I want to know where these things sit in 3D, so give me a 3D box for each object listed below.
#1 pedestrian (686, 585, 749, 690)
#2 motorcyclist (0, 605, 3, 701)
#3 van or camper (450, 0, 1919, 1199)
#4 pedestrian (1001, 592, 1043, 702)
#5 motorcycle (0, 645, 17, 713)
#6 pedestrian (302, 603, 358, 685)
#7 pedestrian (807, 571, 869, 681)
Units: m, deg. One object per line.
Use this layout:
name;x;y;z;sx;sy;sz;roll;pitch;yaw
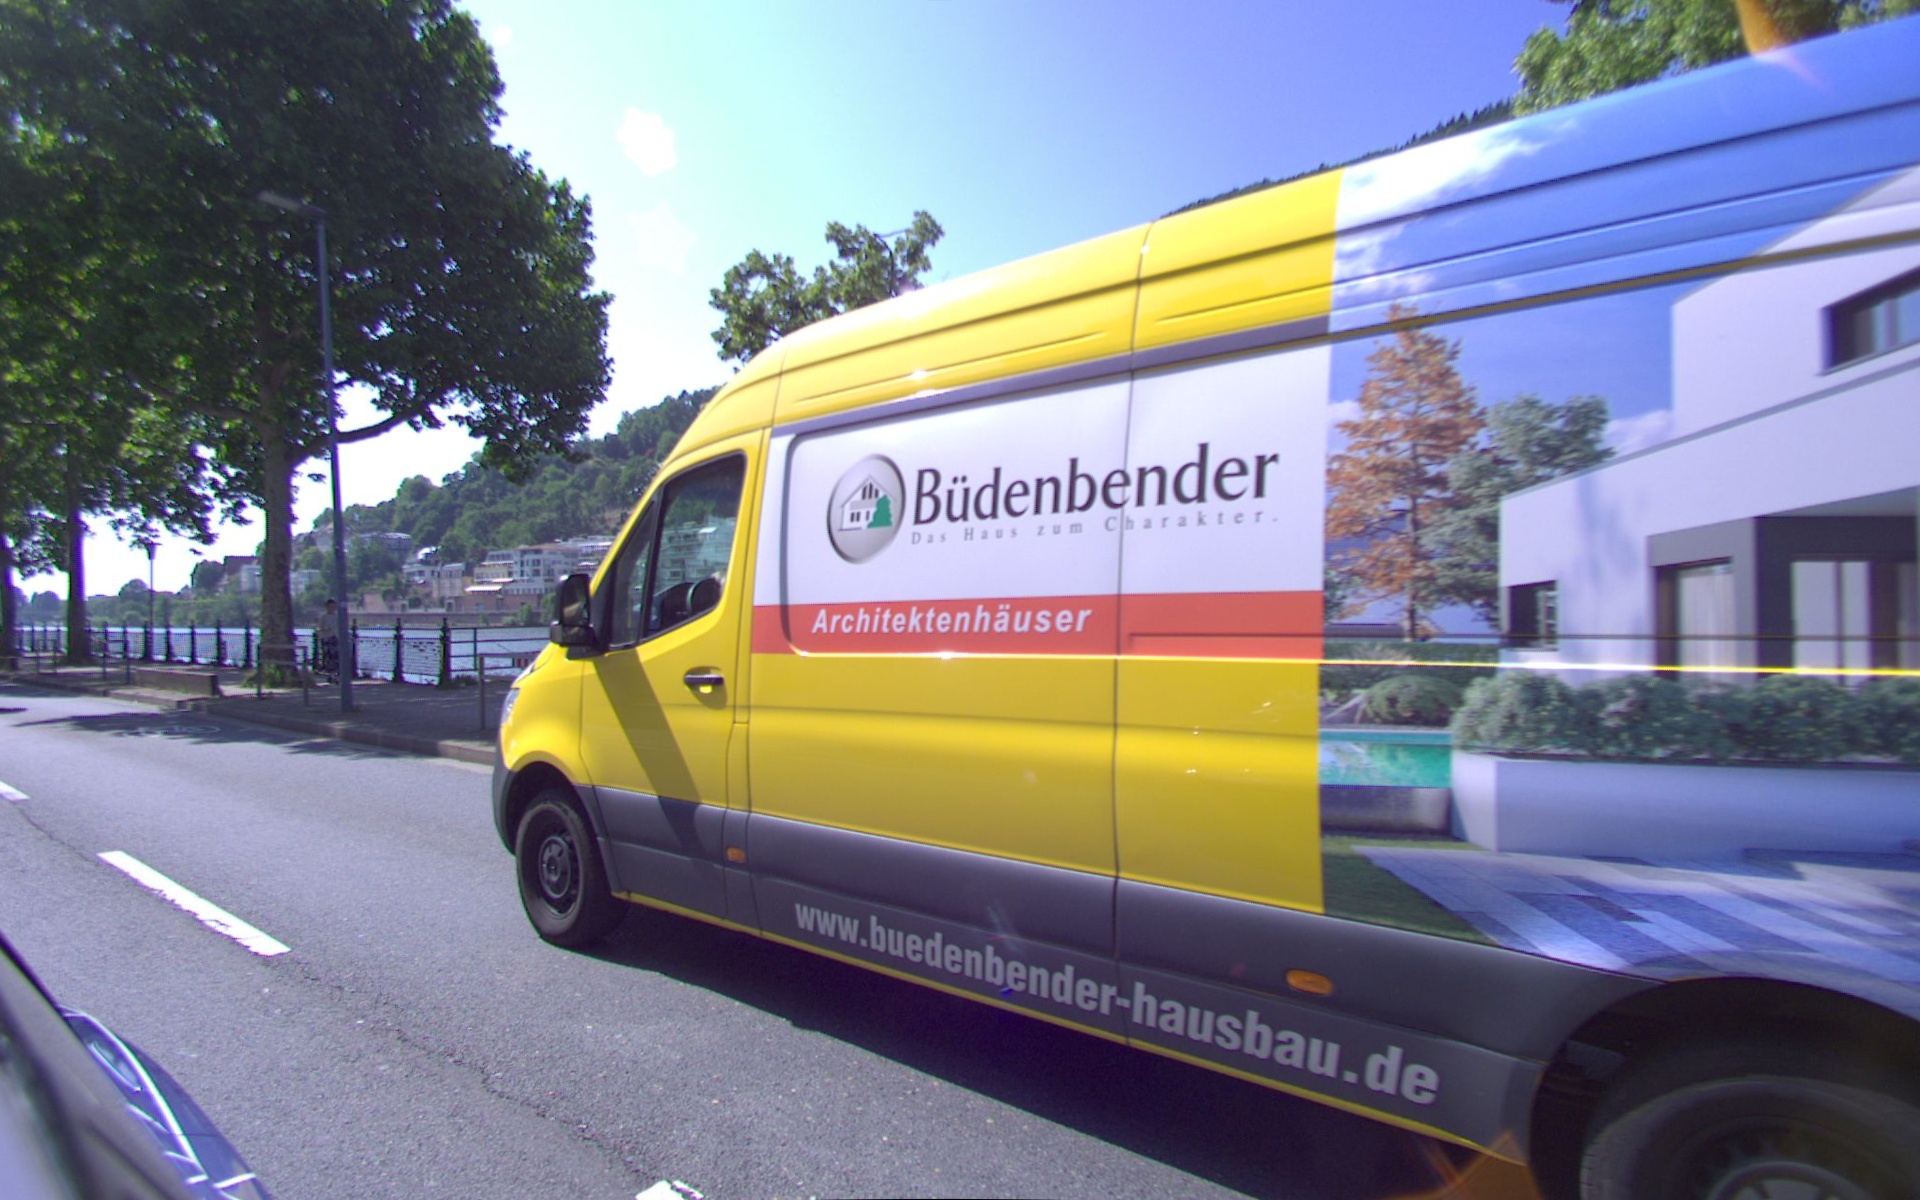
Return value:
pedestrian;-4.100;0.614;17.137;0.747;1.695;0.659;-4;2;-41
motorcyclist;-16.448;0.881;16.644;1.023;1.595;0.870;-1;-1;37
van or camper;1.027;0.135;3.299;7.084;2.576;2.067;-1;0;39
pedestrian;0.925;0.690;15.176;0.410;1.609;0.451;0;-1;-45
motorcycle;-16.414;1.293;16.655;2.323;1.085;0.875;-2;-1;36
pedestrian;-12.595;0.863;20.227;0.695;1.598;0.754;-1;-1;37
pedestrian;-2.239;0.473;18.560;0.885;1.960;0.687;-1;-1;37
